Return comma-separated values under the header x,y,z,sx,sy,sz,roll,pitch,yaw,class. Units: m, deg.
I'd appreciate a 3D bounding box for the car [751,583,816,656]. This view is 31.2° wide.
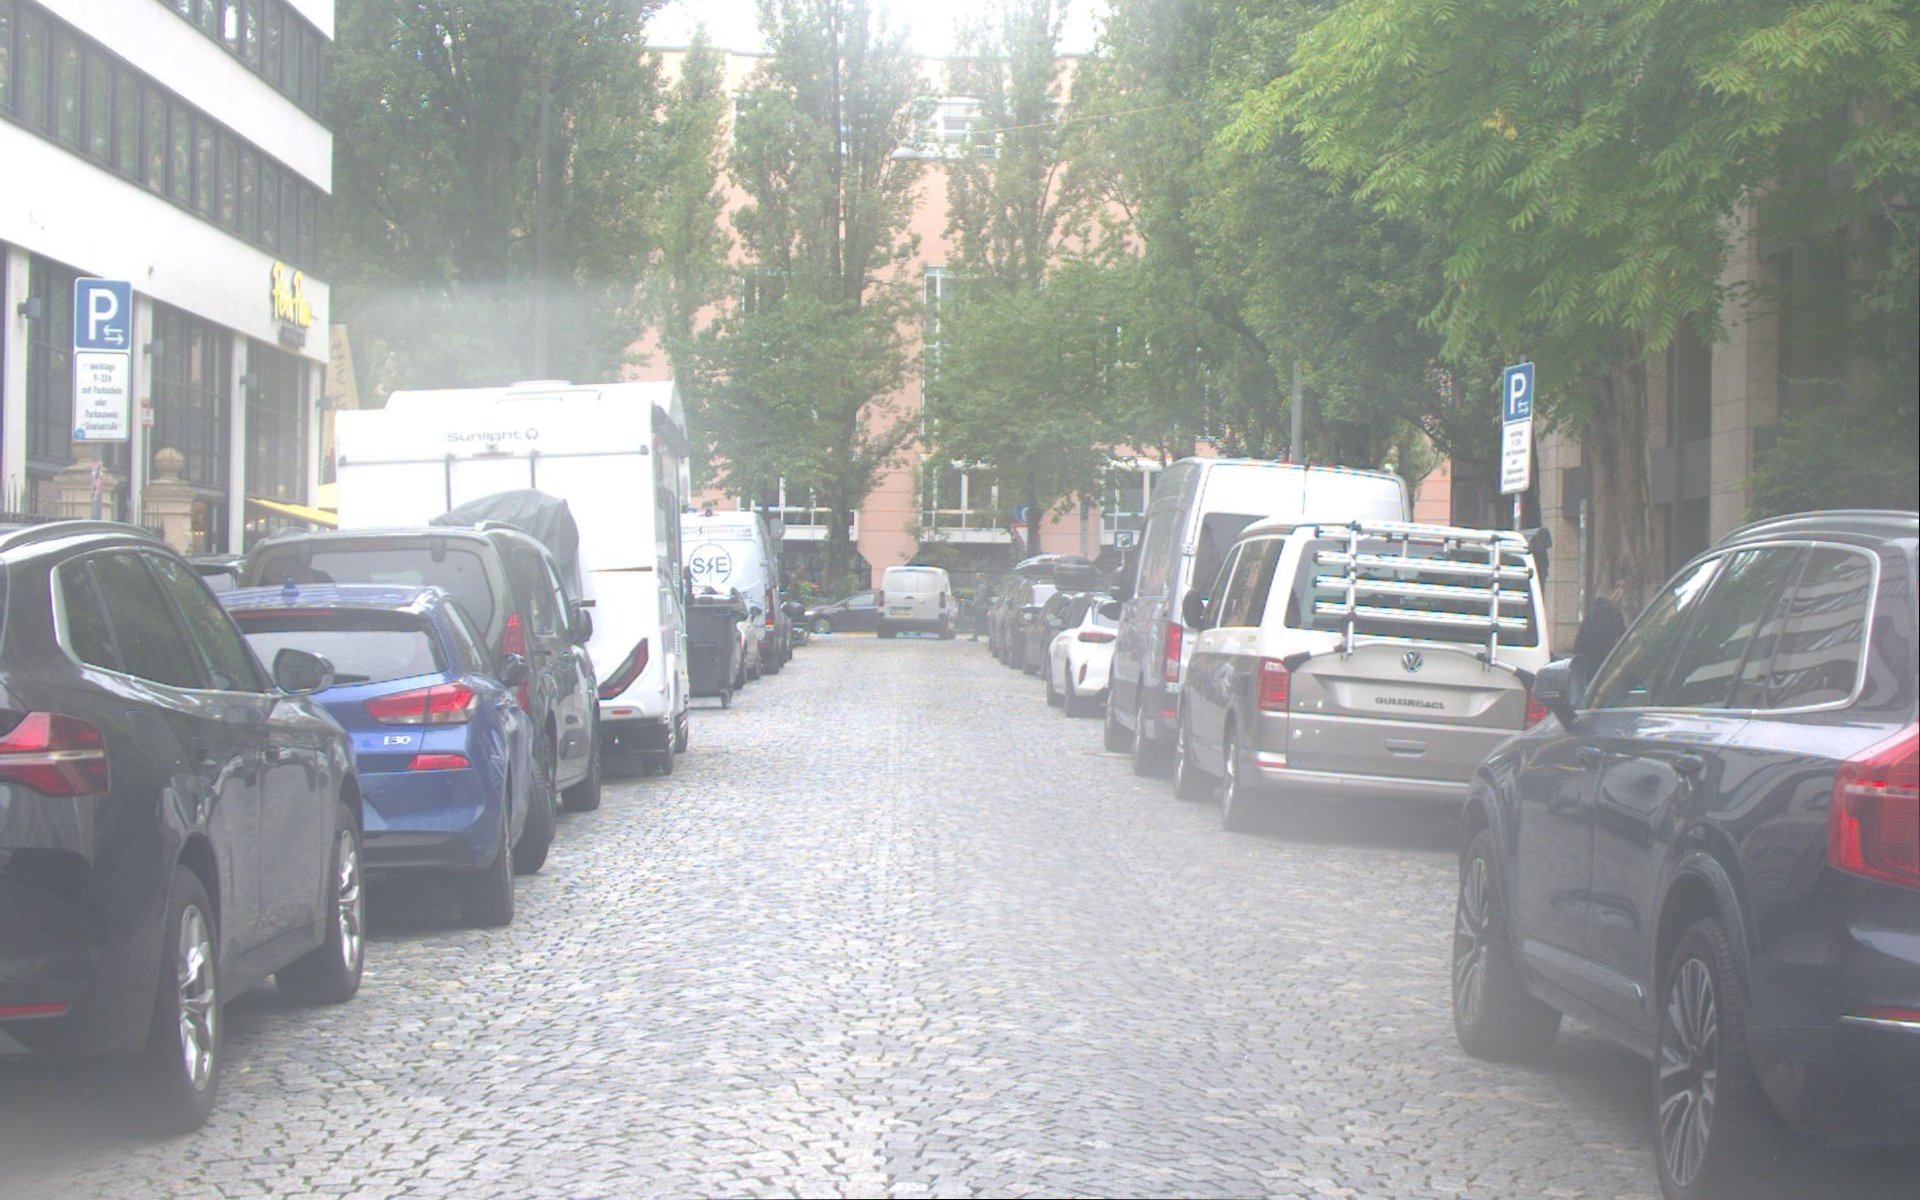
x,y,z,sx,sy,sz,roll,pitch,yaw,class
-3.905,0.431,76.432,1.290,1.534,3.119,2,0,-1,car

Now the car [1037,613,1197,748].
x,y,z,sx,sy,sz,roll,pitch,yaw,class
1.817,0.920,40.775,1.599,1.481,3.479,2,0,-2,car

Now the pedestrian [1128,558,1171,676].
x,y,z,sx,sy,sz,roll,pitch,yaw,class
3.578,0.325,65.000,0.711,2.184,0.813,2,-1,1,pedestrian

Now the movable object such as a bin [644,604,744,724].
x,y,z,sx,sy,sz,roll,pitch,yaw,class
-3.127,0.748,40.522,1.064,1.359,1.289,2,0,-1,movable object such as a bin

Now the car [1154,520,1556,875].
x,y,z,sx,sy,sz,roll,pitch,yaw,class
2.444,0.580,22.497,1.800,1.943,4.860,4,0,-2,car

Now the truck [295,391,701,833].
x,y,z,sx,sy,sz,roll,pitch,yaw,class
-3.412,0.049,26.804,2.508,3.021,6.385,0,0,-2,truck

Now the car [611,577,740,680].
x,y,z,sx,sy,sz,roll,pitch,yaw,class
-4.261,0.425,51.842,1.662,1.450,3.548,2,0,-1,car

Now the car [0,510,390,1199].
x,y,z,sx,sy,sz,roll,pitch,yaw,class
-2.915,0.636,10.261,1.773,1.712,4.391,2,0,-2,car

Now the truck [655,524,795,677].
x,y,z,sx,sy,sz,roll,pitch,yaw,class
-3.783,0.020,55.886,1.993,2.339,4.068,2,0,-1,truck

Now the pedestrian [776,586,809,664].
x,y,z,sx,sy,sz,roll,pitch,yaw,class
-4.132,0.623,84.861,0.725,1.904,0.641,2,-1,1,pedestrian

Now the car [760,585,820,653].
x,y,z,sx,sy,sz,roll,pitch,yaw,class
-4.004,0.448,81.401,1.276,1.536,3.119,2,0,-1,car

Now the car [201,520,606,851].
x,y,z,sx,sy,sz,roll,pitch,yaw,class
-3.184,0.448,20.436,1.894,1.745,4.168,1,0,-3,car

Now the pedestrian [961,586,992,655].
x,y,z,sx,sy,sz,roll,pitch,yaw,class
0.414,0.517,85.182,0.687,1.681,0.500,2,0,3,pedestrian

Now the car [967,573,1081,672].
x,y,z,sx,sy,sz,roll,pitch,yaw,class
1.087,0.389,59.399,1.868,1.599,3.272,2,0,0,car

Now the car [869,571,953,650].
x,y,z,sx,sy,sz,roll,pitch,yaw,class
-1.229,0.274,87.960,1.996,1.929,4.000,2,0,0,car

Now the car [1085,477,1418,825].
x,y,z,sx,sy,sz,roll,pitch,yaw,class
2.261,0.347,28.254,1.895,2.418,5.611,5,0,-2,car

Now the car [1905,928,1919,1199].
x,y,z,sx,sy,sz,roll,pitch,yaw,class
2.780,0.882,4.826,1.683,1.448,3.966,3,0,-2,car

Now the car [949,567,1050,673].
x,y,z,sx,sy,sz,roll,pitch,yaw,class
0.771,0.388,67.309,1.868,1.954,4.000,2,0,0,car

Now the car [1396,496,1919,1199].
x,y,z,sx,sy,sz,roll,pitch,yaw,class
2.600,0.707,9.538,1.963,1.753,4.954,2,0,-2,car

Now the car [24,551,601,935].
x,y,z,sx,sy,sz,roll,pitch,yaw,class
-2.772,0.577,15.631,1.940,1.454,4.058,2,0,-2,car

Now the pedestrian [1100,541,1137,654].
x,y,z,sx,sy,sz,roll,pitch,yaw,class
3.443,-0.062,74.861,0.711,2.417,0.813,-2,2,1,pedestrian
